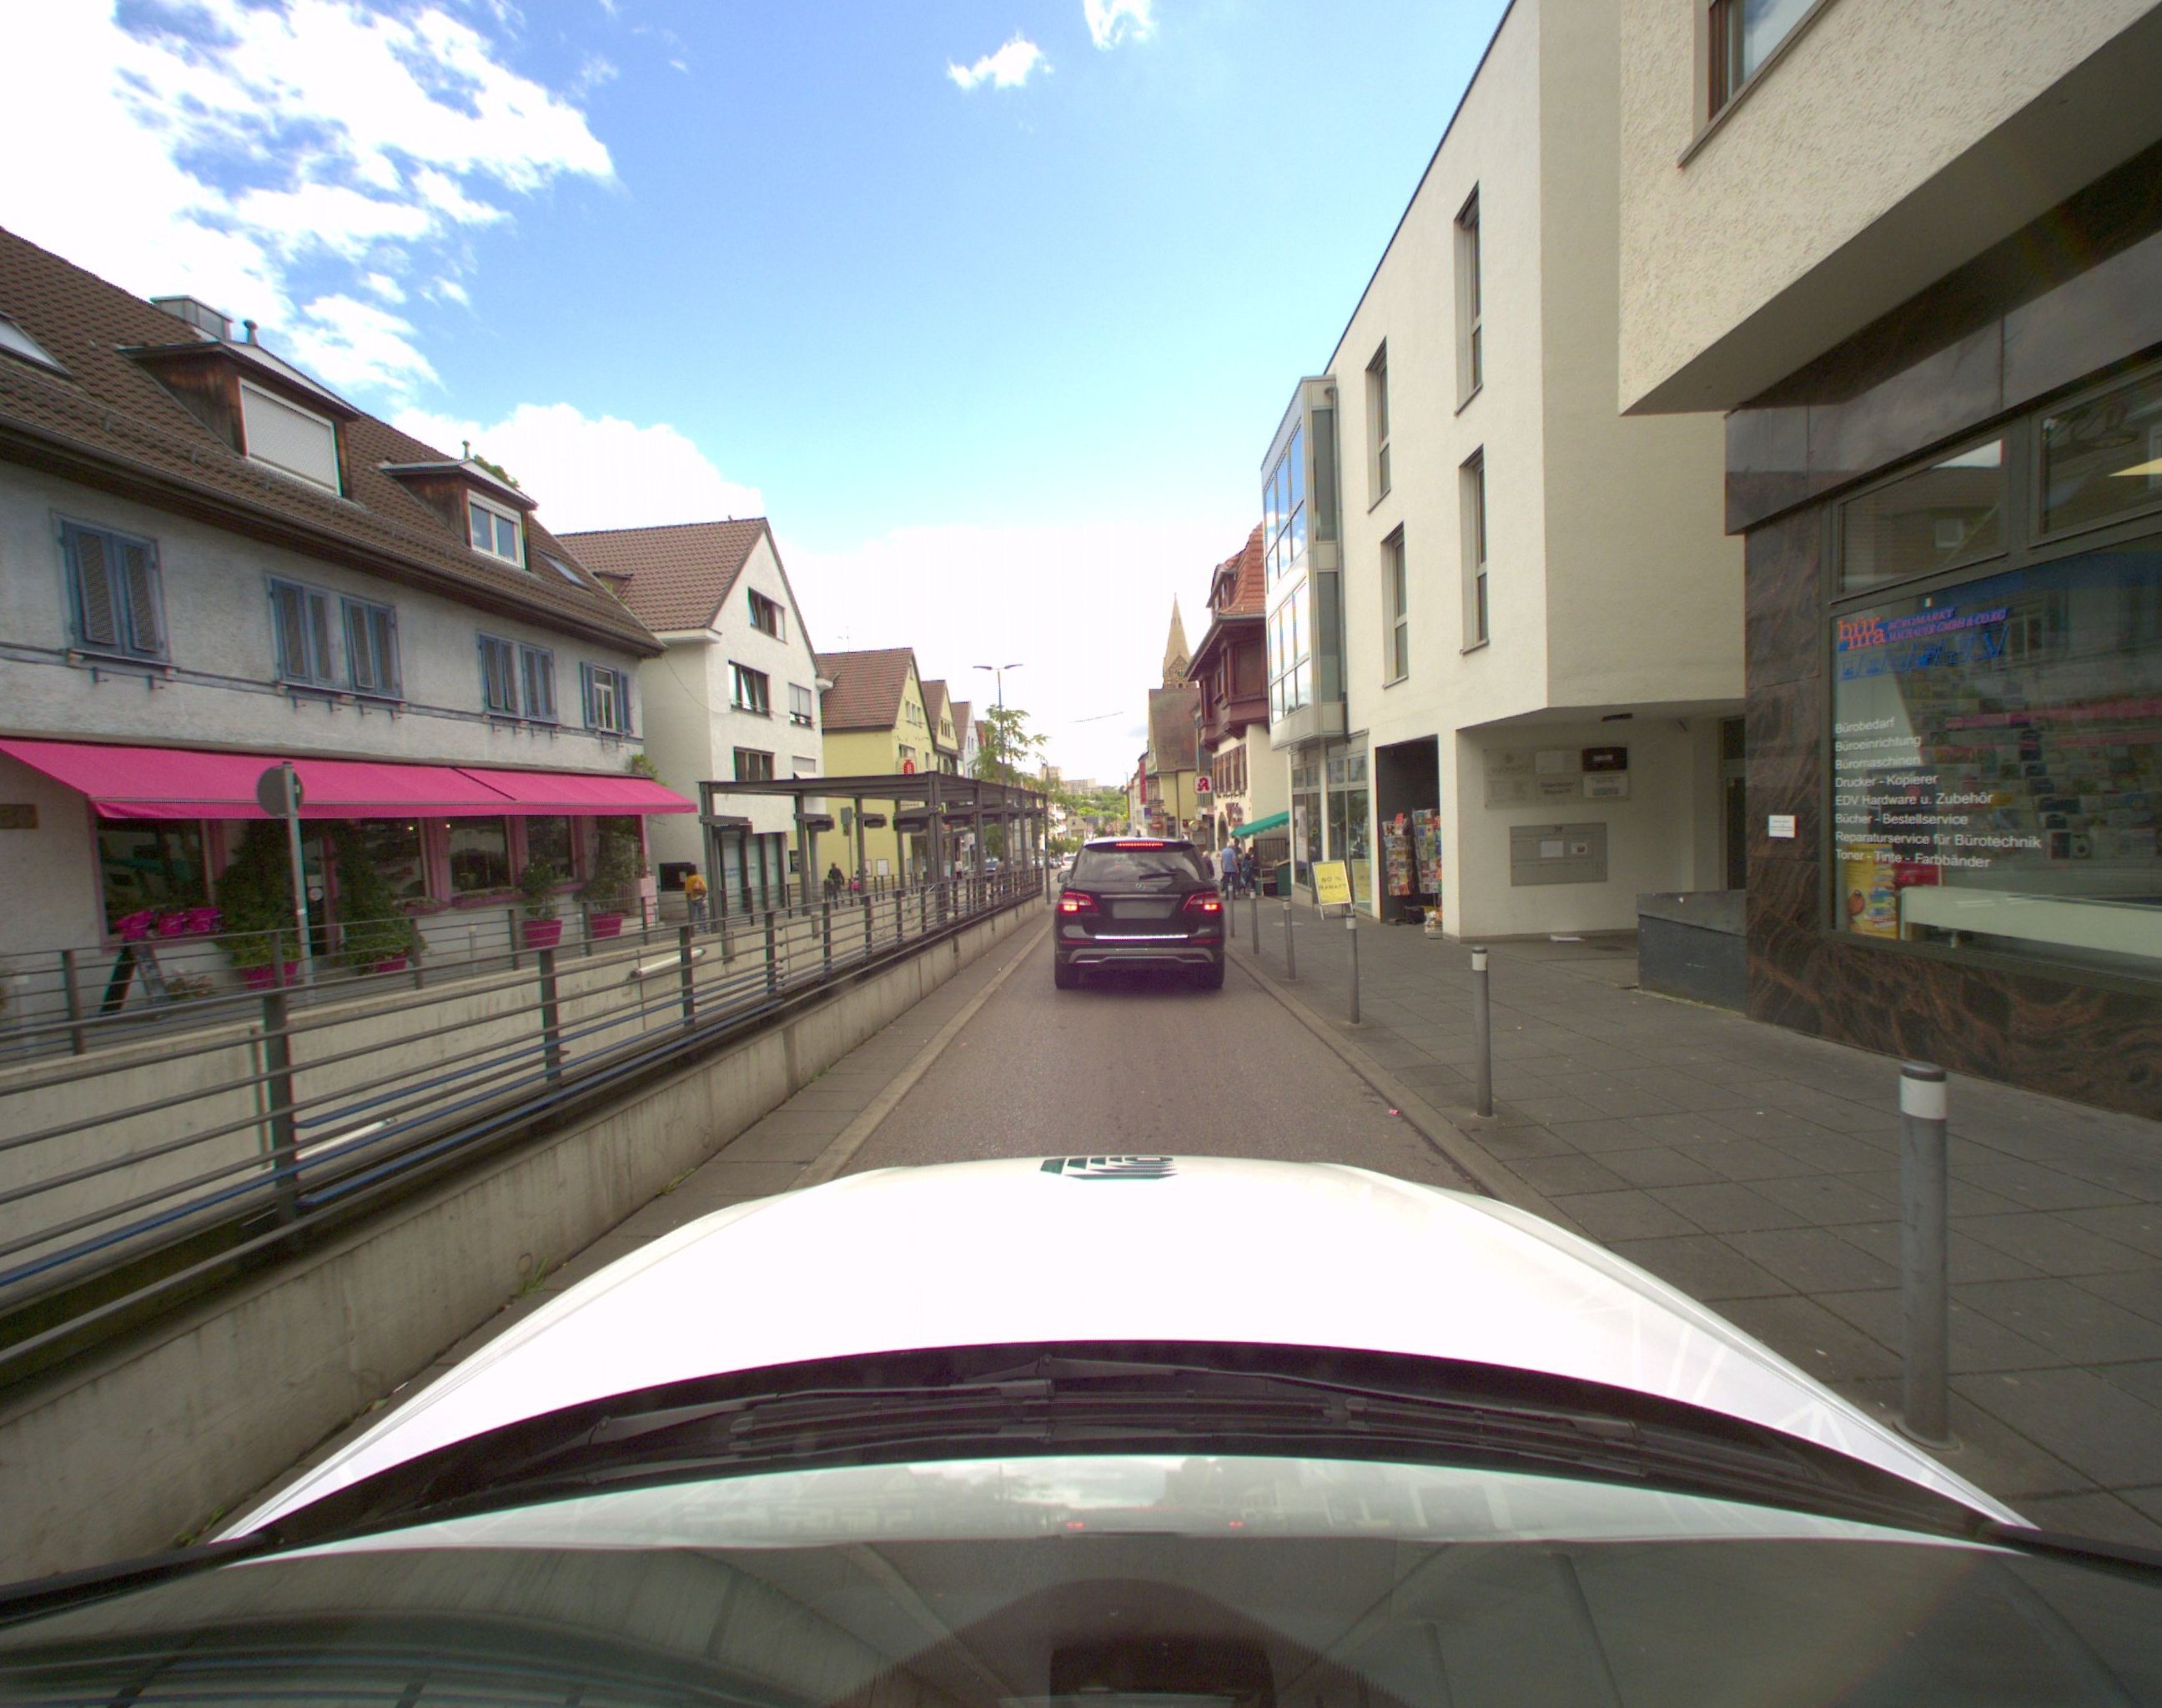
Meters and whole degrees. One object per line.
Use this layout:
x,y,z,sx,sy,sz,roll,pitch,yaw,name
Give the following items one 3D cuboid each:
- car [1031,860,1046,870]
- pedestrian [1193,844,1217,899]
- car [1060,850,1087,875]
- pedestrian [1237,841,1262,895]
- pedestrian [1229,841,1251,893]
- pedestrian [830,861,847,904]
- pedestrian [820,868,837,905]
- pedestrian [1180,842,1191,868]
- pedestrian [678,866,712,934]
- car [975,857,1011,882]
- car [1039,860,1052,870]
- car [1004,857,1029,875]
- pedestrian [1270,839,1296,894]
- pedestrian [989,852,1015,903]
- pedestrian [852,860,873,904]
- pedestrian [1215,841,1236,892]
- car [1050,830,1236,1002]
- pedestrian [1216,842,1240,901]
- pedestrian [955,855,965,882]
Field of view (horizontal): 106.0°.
-4.751,1.244,91.342,1.383,1.070,3.114,-3,0,2,car
3.867,0.533,25.389,0.620,1.689,0.565,0,0,-5,pedestrian
-0.524,0.593,58.139,1.764,1.713,4.001,0,0,2,car
5.343,0.437,25.848,0.572,1.689,0.565,-3,0,-5,pedestrian
5.221,0.434,26.796,0.572,1.689,0.565,0,0,-5,pedestrian
-9.764,1.150,32.792,0.612,1.689,0.560,0,0,-13,pedestrian
-9.950,1.278,32.081,0.454,1.421,0.534,0,0,4,pedestrian
6.954,0.070,54.122,0.604,1.688,0.725,-3,0,1,pedestrian
-9.757,1.147,20.596,0.576,1.689,0.577,0,0,1,pedestrian
-5.510,0.969,51.373,1.683,1.490,3.981,0,0,2,car
-4.533,1.375,103.500,1.383,1.070,3.115,-3,0,2,car
-5.438,0.968,68.693,1.654,1.490,3.750,0,0,2,car
6.441,0.388,25.961,0.572,1.689,0.565,-3,0,-5,pedestrian
-2.626,0.767,27.143,0.763,1.689,0.727,0,0,-1,pedestrian
-8.600,1.093,32.119,0.623,1.689,0.679,0,0,1,pedestrian
5.244,0.446,29.496,0.637,1.809,0.685,0,0,1,pedestrian
0.654,0.637,10.357,1.894,1.747,4.000,0,0,0,car
4.445,0.517,24.635,0.541,1.726,0.527,-3,0,-5,pedestrian
-7.582,0.915,51.085,0.511,1.689,0.542,0,0,1,pedestrian
